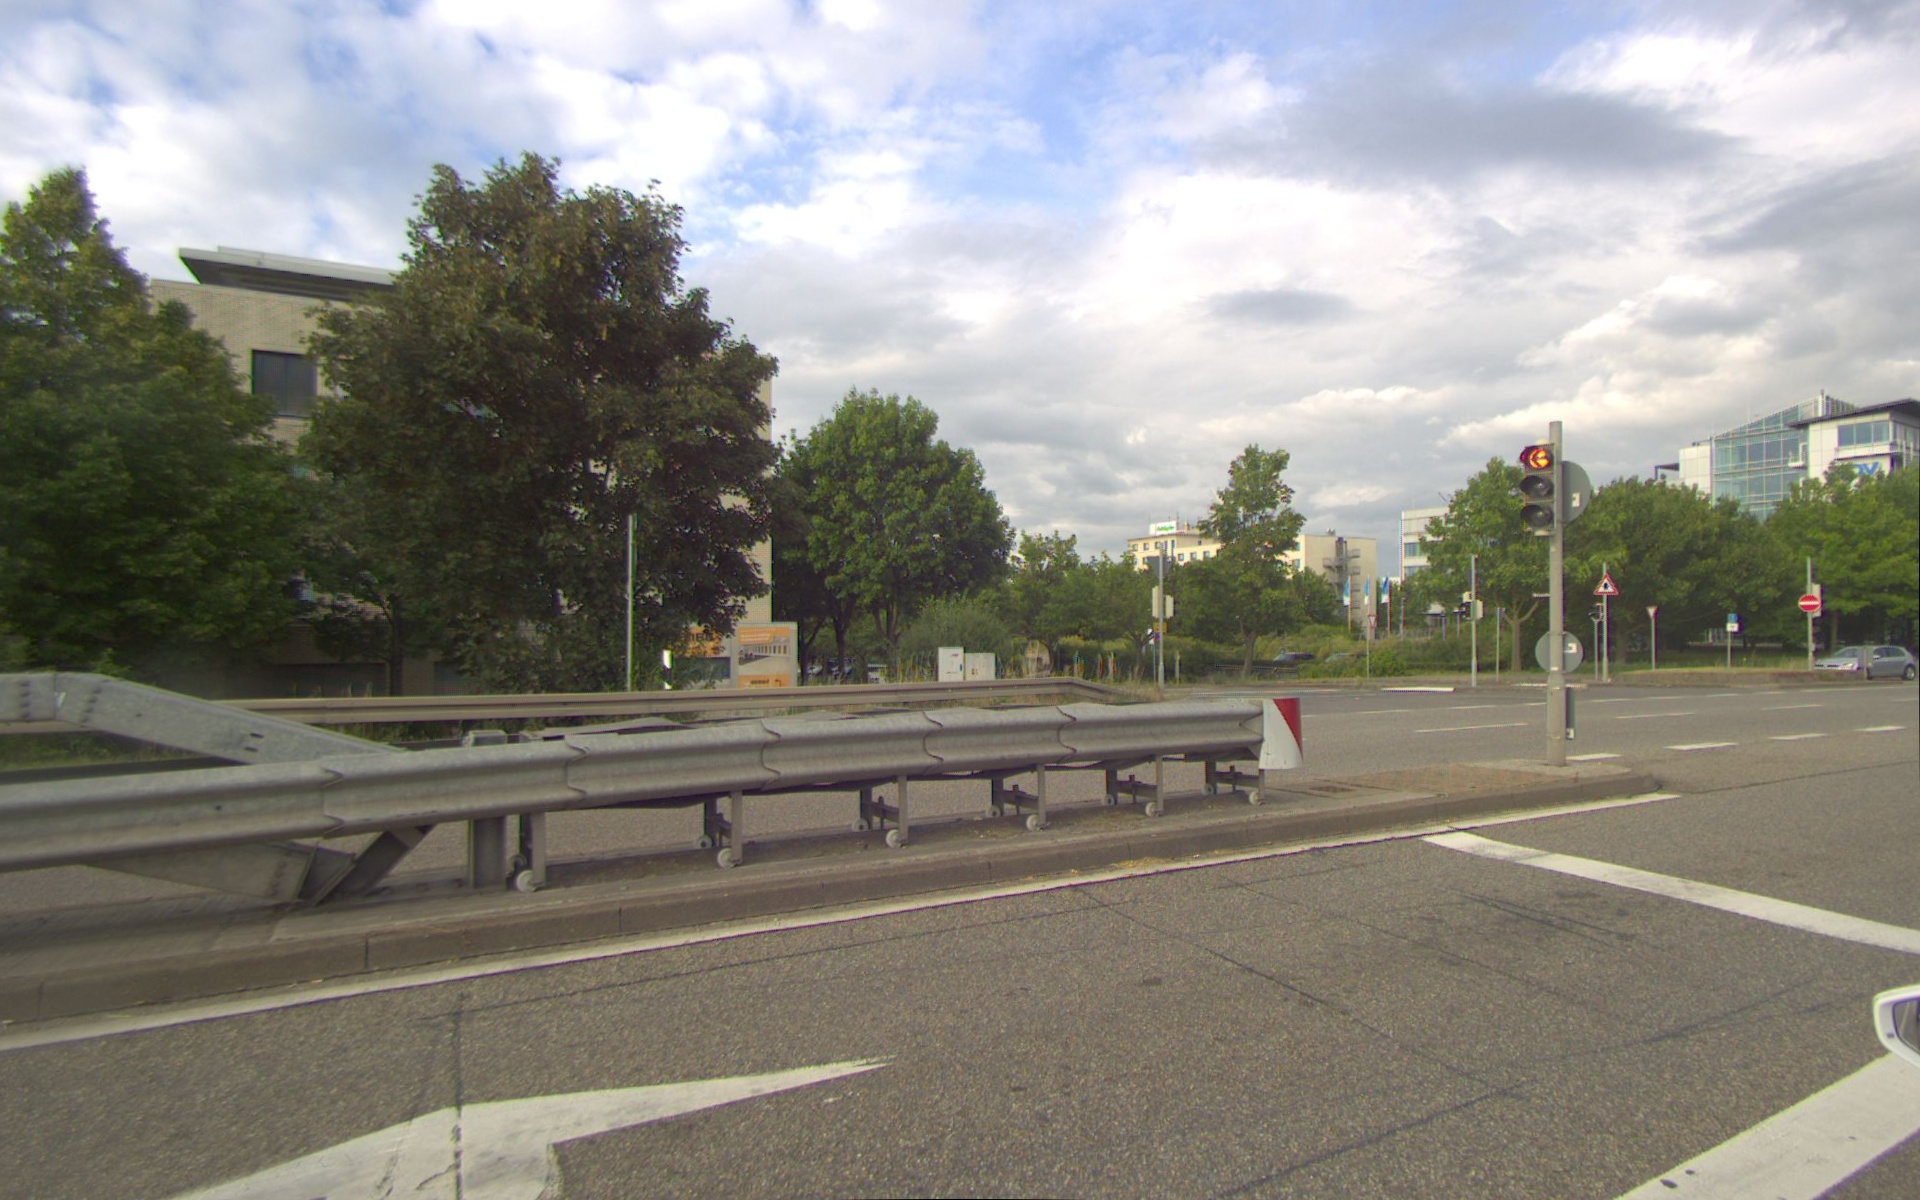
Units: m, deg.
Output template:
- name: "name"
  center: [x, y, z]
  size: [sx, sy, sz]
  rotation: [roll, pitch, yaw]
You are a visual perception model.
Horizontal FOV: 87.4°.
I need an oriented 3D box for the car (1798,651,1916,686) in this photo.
- name: "car"
  center: [37.408, 2.868, 41.932]
  size: [3.680, 1.359, 1.586]
  rotation: [-1, -4, -7]
